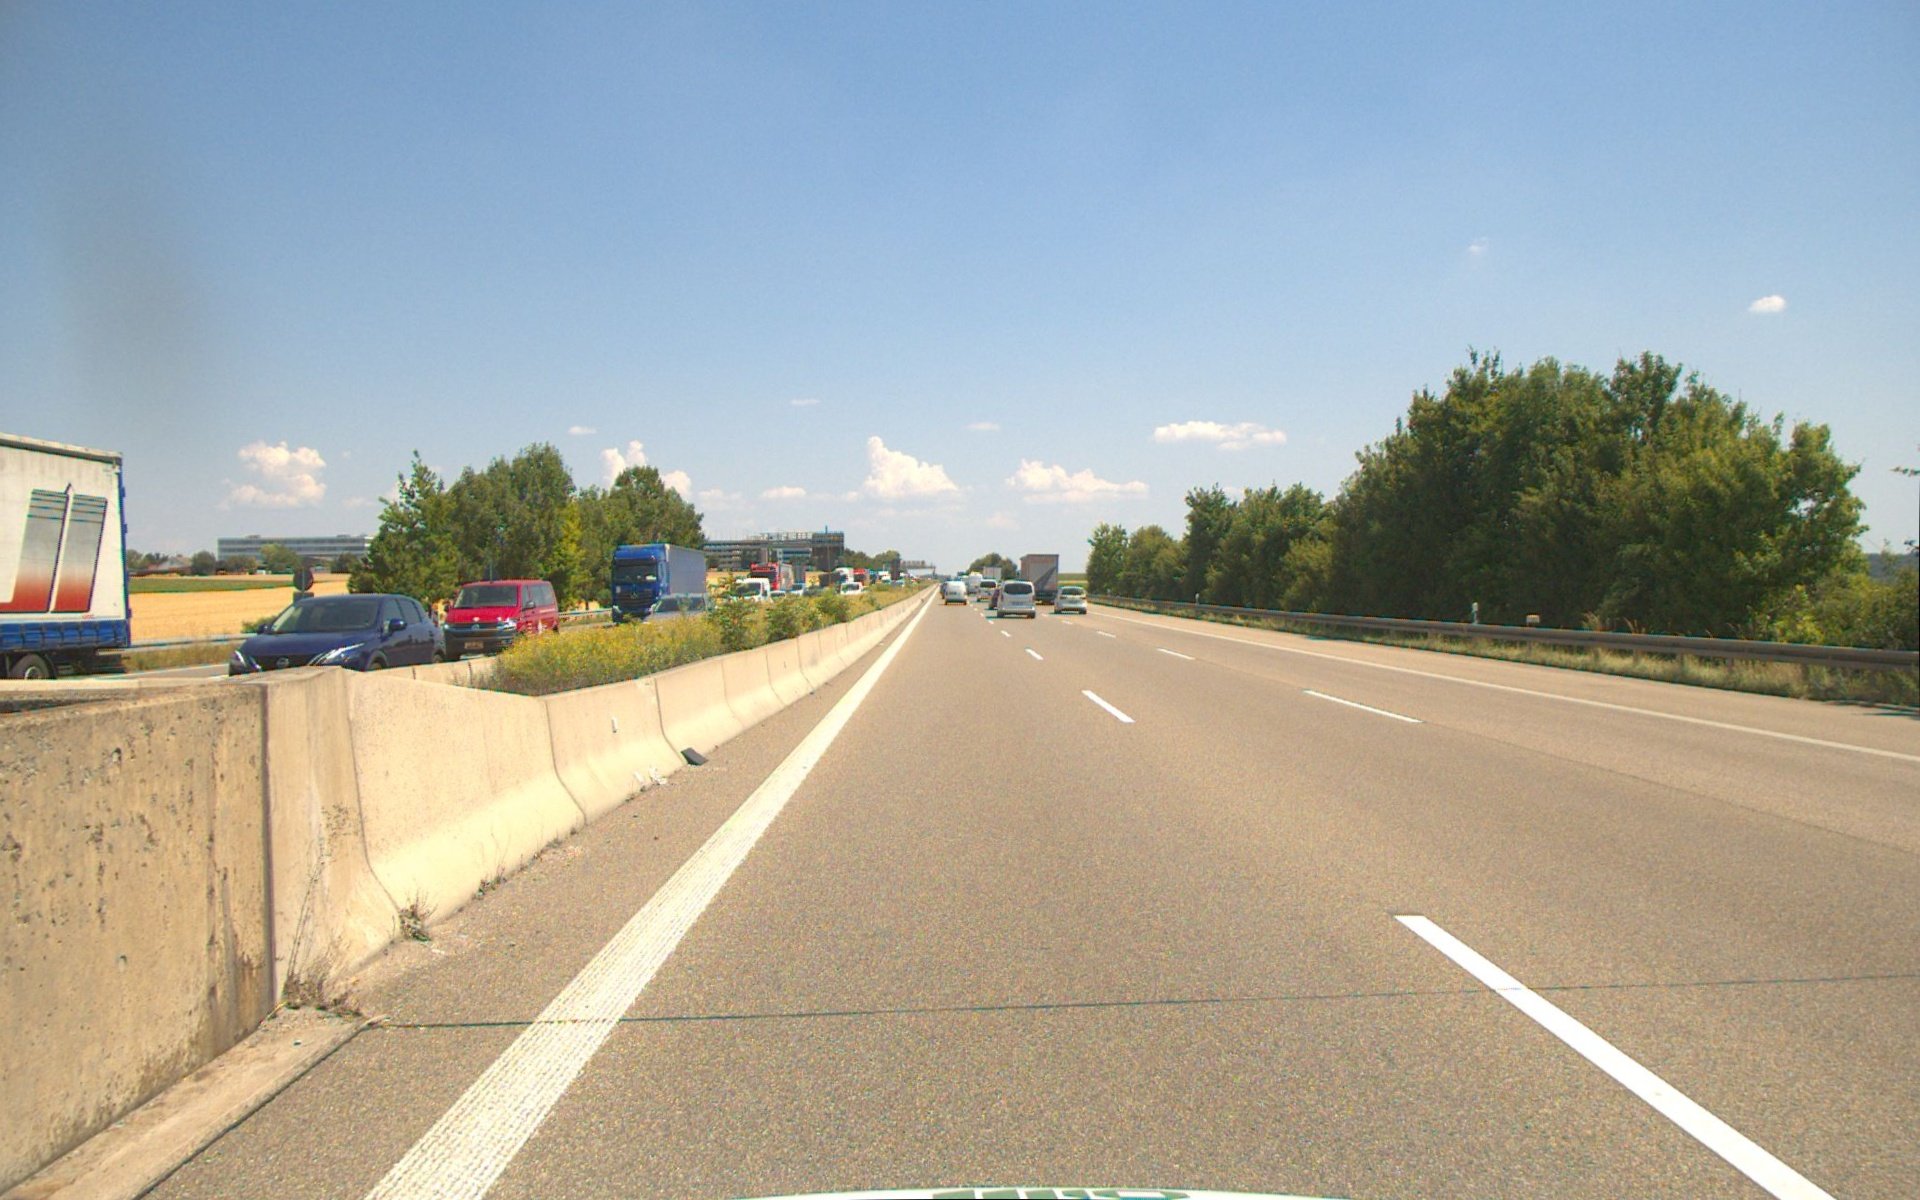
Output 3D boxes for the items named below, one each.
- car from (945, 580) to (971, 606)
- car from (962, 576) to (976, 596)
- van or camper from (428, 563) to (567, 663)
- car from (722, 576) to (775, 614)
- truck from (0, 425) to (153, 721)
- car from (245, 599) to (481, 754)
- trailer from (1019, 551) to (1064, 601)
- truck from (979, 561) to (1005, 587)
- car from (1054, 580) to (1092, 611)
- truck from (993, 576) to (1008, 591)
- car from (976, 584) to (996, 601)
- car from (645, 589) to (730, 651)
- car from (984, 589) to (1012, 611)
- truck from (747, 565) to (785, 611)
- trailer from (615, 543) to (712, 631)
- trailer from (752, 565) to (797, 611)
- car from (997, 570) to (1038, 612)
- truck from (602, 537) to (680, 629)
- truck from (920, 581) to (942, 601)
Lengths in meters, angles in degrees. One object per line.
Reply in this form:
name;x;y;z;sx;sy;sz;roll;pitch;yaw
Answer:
car;-0.167;-0.537;130.574;1.953;2.049;3.999;0;0;-1
car;1.079;-1.674;202.579;1.737;2.434;3.999;0;0;-1
van or camper;-11.569;0.287;41.780;2.051;2.314;5.492;-1;1;-1
car;-11.950;-0.305;93.815;2.139;2.049;5.764;-1;0;1
truck;-15.188;-0.326;21.392;2.540;4.312;14.120;-3;0;-1
car;-8.471;0.995;23.926;1.776;1.980;4.614;-1;0;-1
trailer;6.781;-1.931;138.237;3.211;4.036;9.111;0;0;-1
truck;5.073;-4.042;262.027;3.738;3.973;9.579;-1;0;-1
car;6.806;-0.258;100.065;1.953;1.825;3.999;0;0;-1
truck;5.609;-2.231;229.217;1.953;2.049;3.999;-1;0;-1
car;2.338;-0.701;151.202;1.737;1.472;3.999;0;0;-1
car;-7.509;0.518;45.910;1.650;1.593;4.561;-1;0;-1
car;2.583;0.001;113.141;1.737;1.472;3.999;0;0;-1
truck;-16.871;-1.058;144.003;2.798;3.922;3.999;-2;0;-1
trailer;-16.032;-0.715;90.412;2.824;4.426;13.641;-1;0;0
trailer;-16.982;-1.138;152.107;2.798;3.922;12.184;-2;1;-1
car;2.940;-0.450;85.796;1.953;2.157;3.999;0;0;-1
truck;-15.986;-0.866;83.238;2.806;4.426;5.585;-1;0;0
truck;-3.005;-0.940;168.999;2.167;2.049;4.970;-1;1;-1
